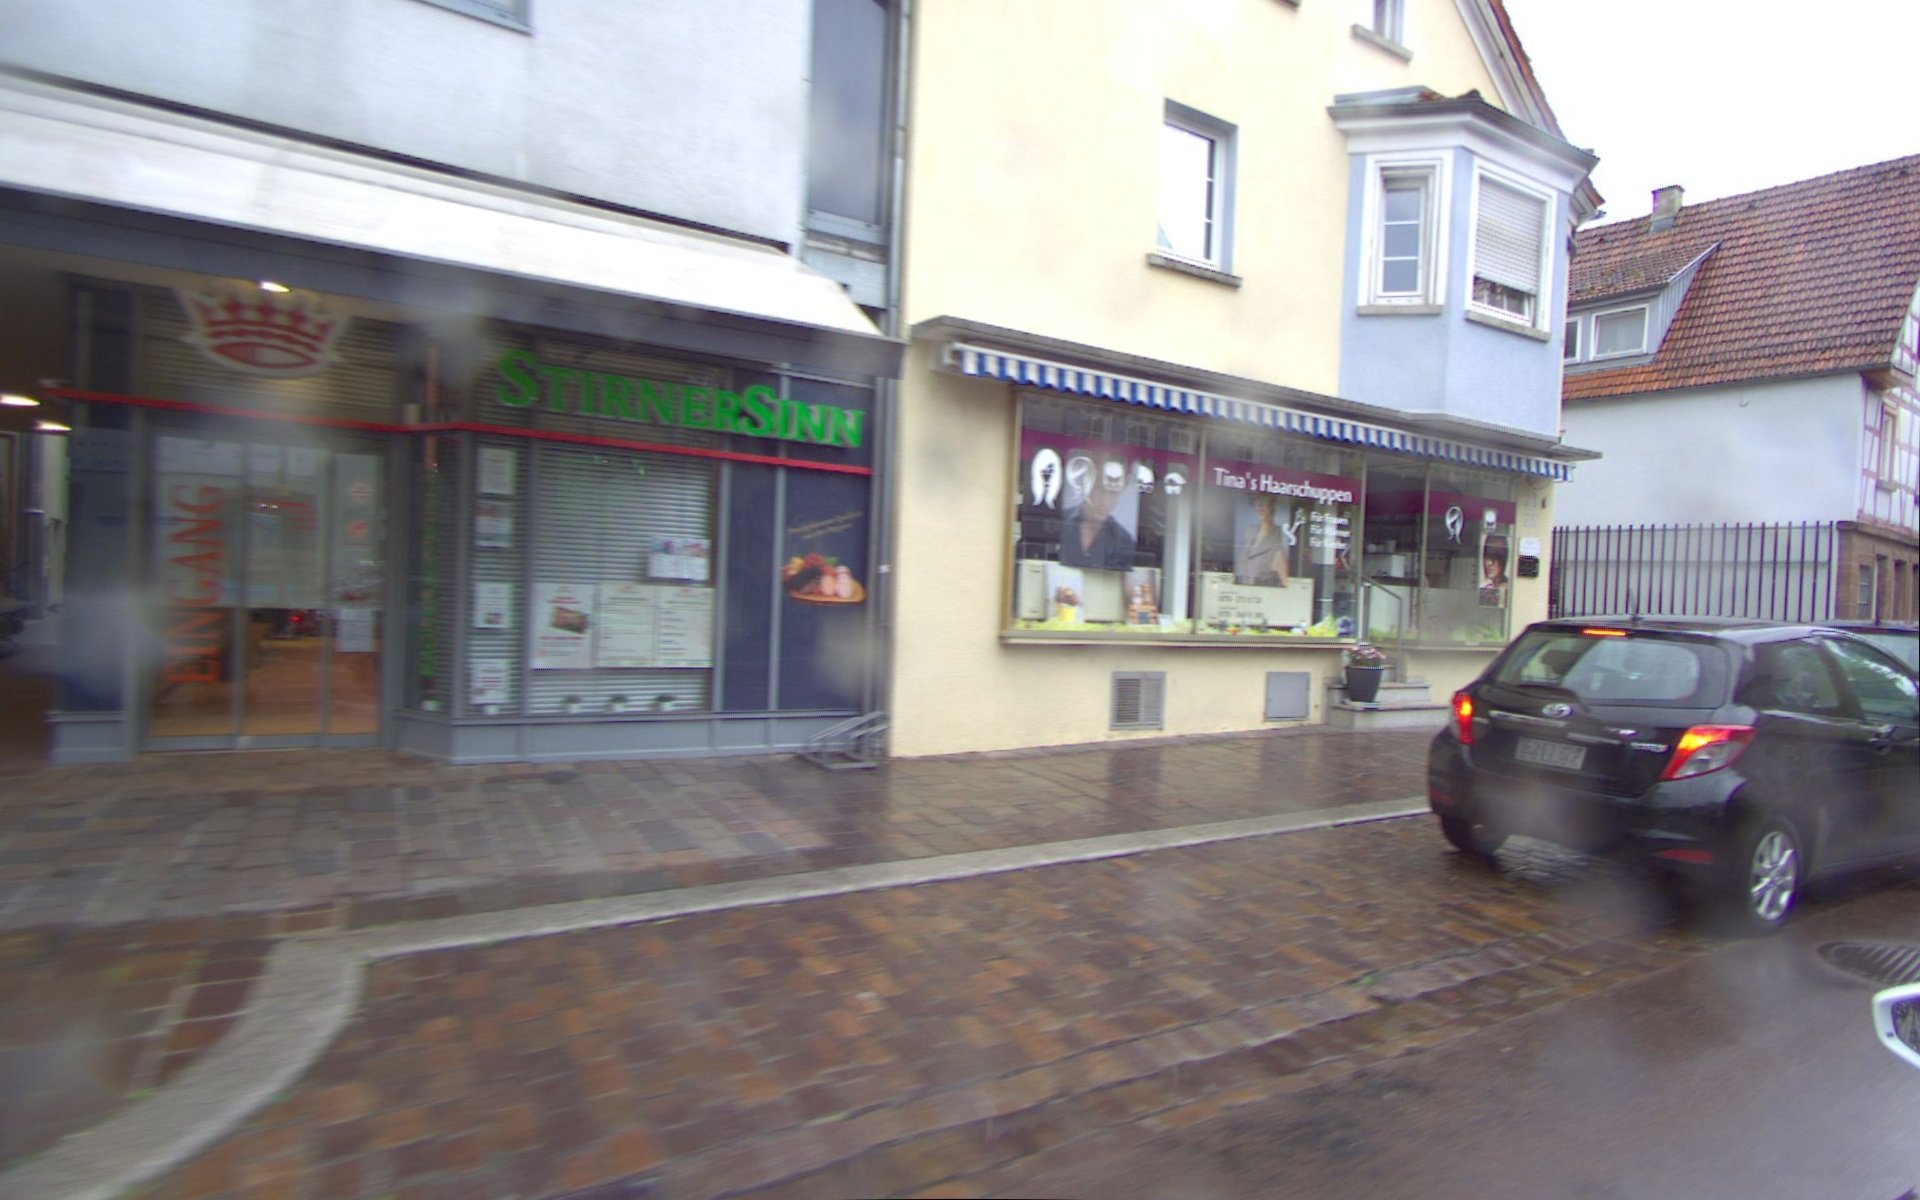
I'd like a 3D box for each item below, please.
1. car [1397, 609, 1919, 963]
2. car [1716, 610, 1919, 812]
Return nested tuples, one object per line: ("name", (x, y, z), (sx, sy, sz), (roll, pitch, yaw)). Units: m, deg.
("car", (4.647, 0.841, 6.054), (3.837, 1.463, 1.684), (1, 2, -29))
("car", (8.809, 0.899, 9.374), (3.907, 1.494, 1.743), (0, 3, -37))
